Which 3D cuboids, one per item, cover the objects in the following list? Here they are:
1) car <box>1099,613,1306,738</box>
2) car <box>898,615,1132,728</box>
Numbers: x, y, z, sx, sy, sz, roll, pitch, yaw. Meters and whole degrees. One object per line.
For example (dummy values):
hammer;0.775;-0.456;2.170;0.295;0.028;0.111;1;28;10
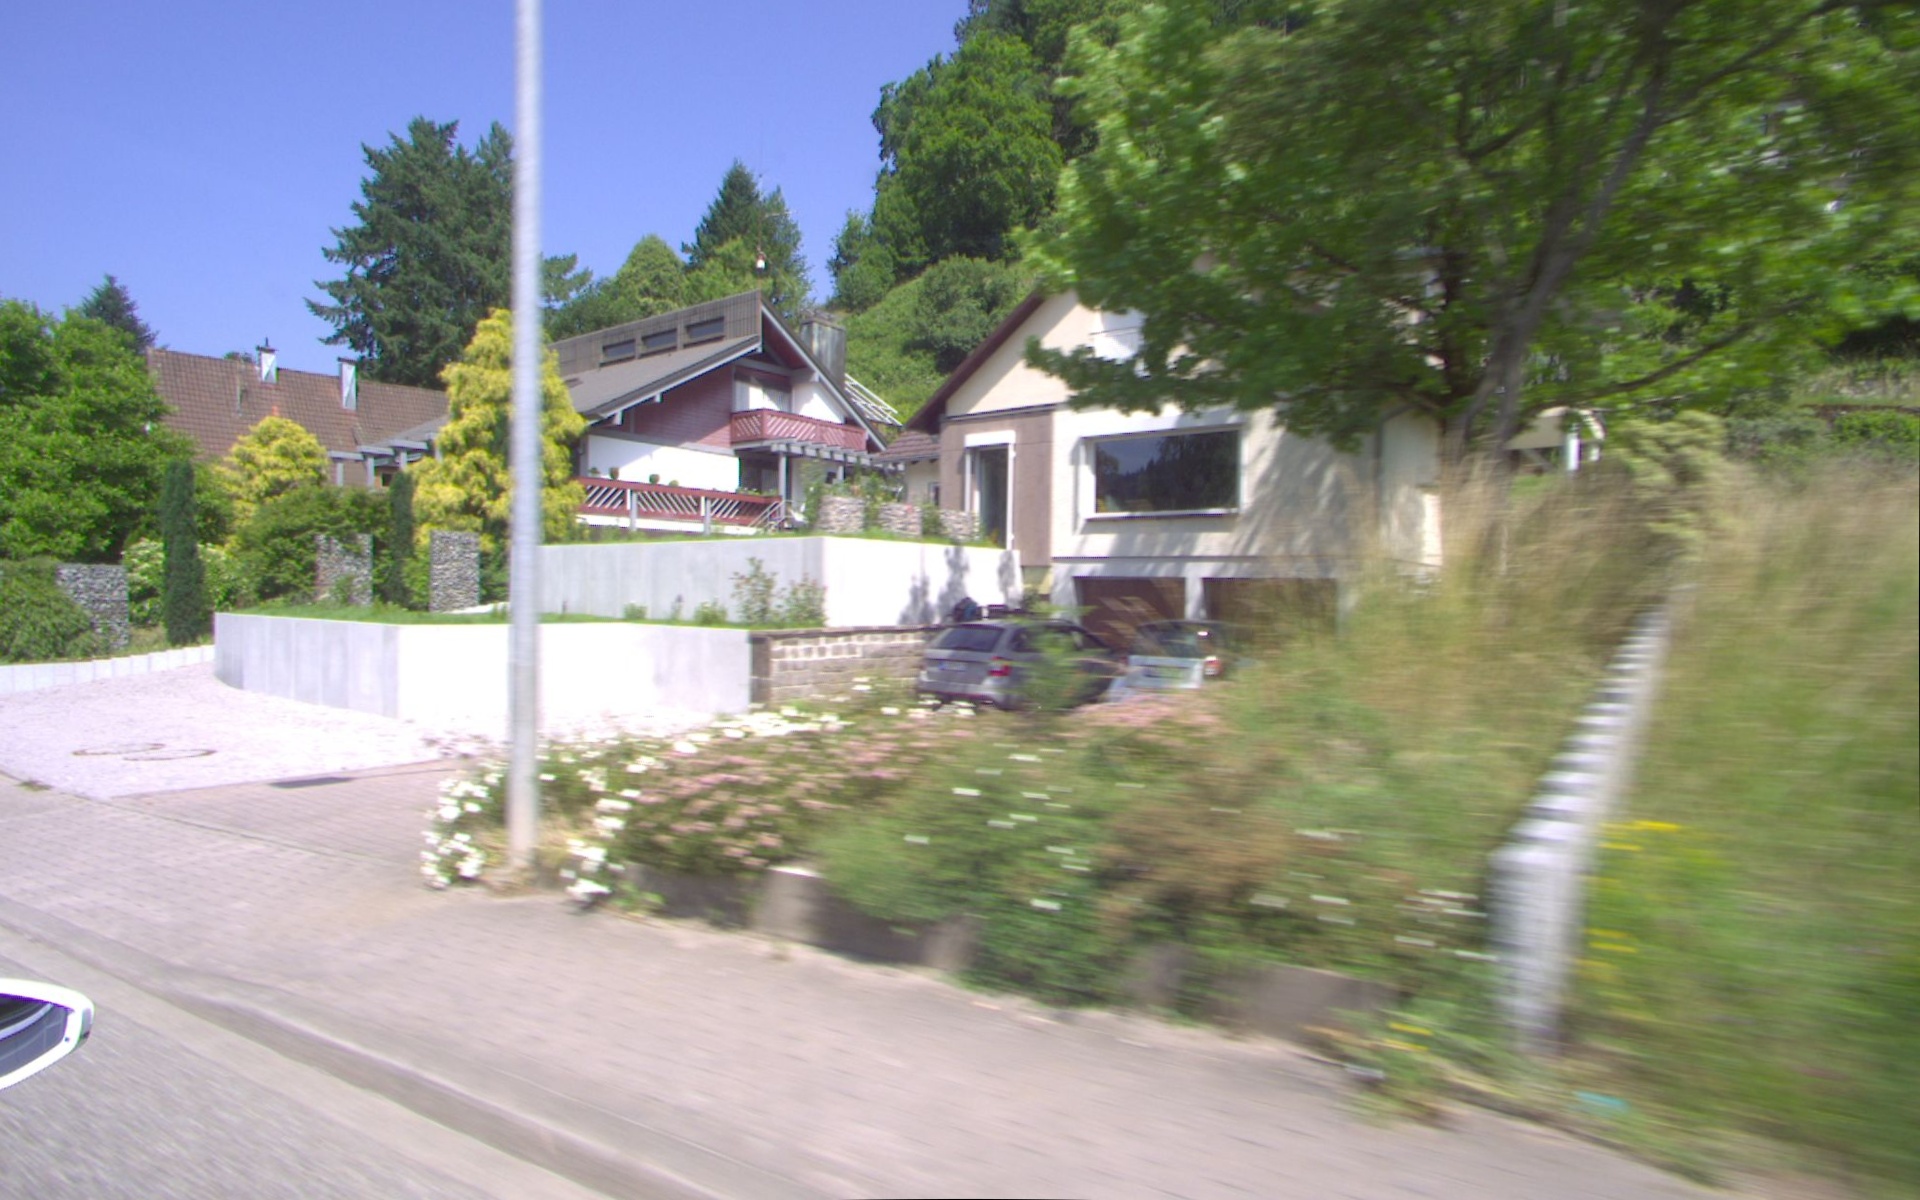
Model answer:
car;3.482;0.953;14.065;1.731;1.517;3.209;0;-1;36
car;0.939;0.985;15.128;1.702;1.489;3.719;-1;-1;39
